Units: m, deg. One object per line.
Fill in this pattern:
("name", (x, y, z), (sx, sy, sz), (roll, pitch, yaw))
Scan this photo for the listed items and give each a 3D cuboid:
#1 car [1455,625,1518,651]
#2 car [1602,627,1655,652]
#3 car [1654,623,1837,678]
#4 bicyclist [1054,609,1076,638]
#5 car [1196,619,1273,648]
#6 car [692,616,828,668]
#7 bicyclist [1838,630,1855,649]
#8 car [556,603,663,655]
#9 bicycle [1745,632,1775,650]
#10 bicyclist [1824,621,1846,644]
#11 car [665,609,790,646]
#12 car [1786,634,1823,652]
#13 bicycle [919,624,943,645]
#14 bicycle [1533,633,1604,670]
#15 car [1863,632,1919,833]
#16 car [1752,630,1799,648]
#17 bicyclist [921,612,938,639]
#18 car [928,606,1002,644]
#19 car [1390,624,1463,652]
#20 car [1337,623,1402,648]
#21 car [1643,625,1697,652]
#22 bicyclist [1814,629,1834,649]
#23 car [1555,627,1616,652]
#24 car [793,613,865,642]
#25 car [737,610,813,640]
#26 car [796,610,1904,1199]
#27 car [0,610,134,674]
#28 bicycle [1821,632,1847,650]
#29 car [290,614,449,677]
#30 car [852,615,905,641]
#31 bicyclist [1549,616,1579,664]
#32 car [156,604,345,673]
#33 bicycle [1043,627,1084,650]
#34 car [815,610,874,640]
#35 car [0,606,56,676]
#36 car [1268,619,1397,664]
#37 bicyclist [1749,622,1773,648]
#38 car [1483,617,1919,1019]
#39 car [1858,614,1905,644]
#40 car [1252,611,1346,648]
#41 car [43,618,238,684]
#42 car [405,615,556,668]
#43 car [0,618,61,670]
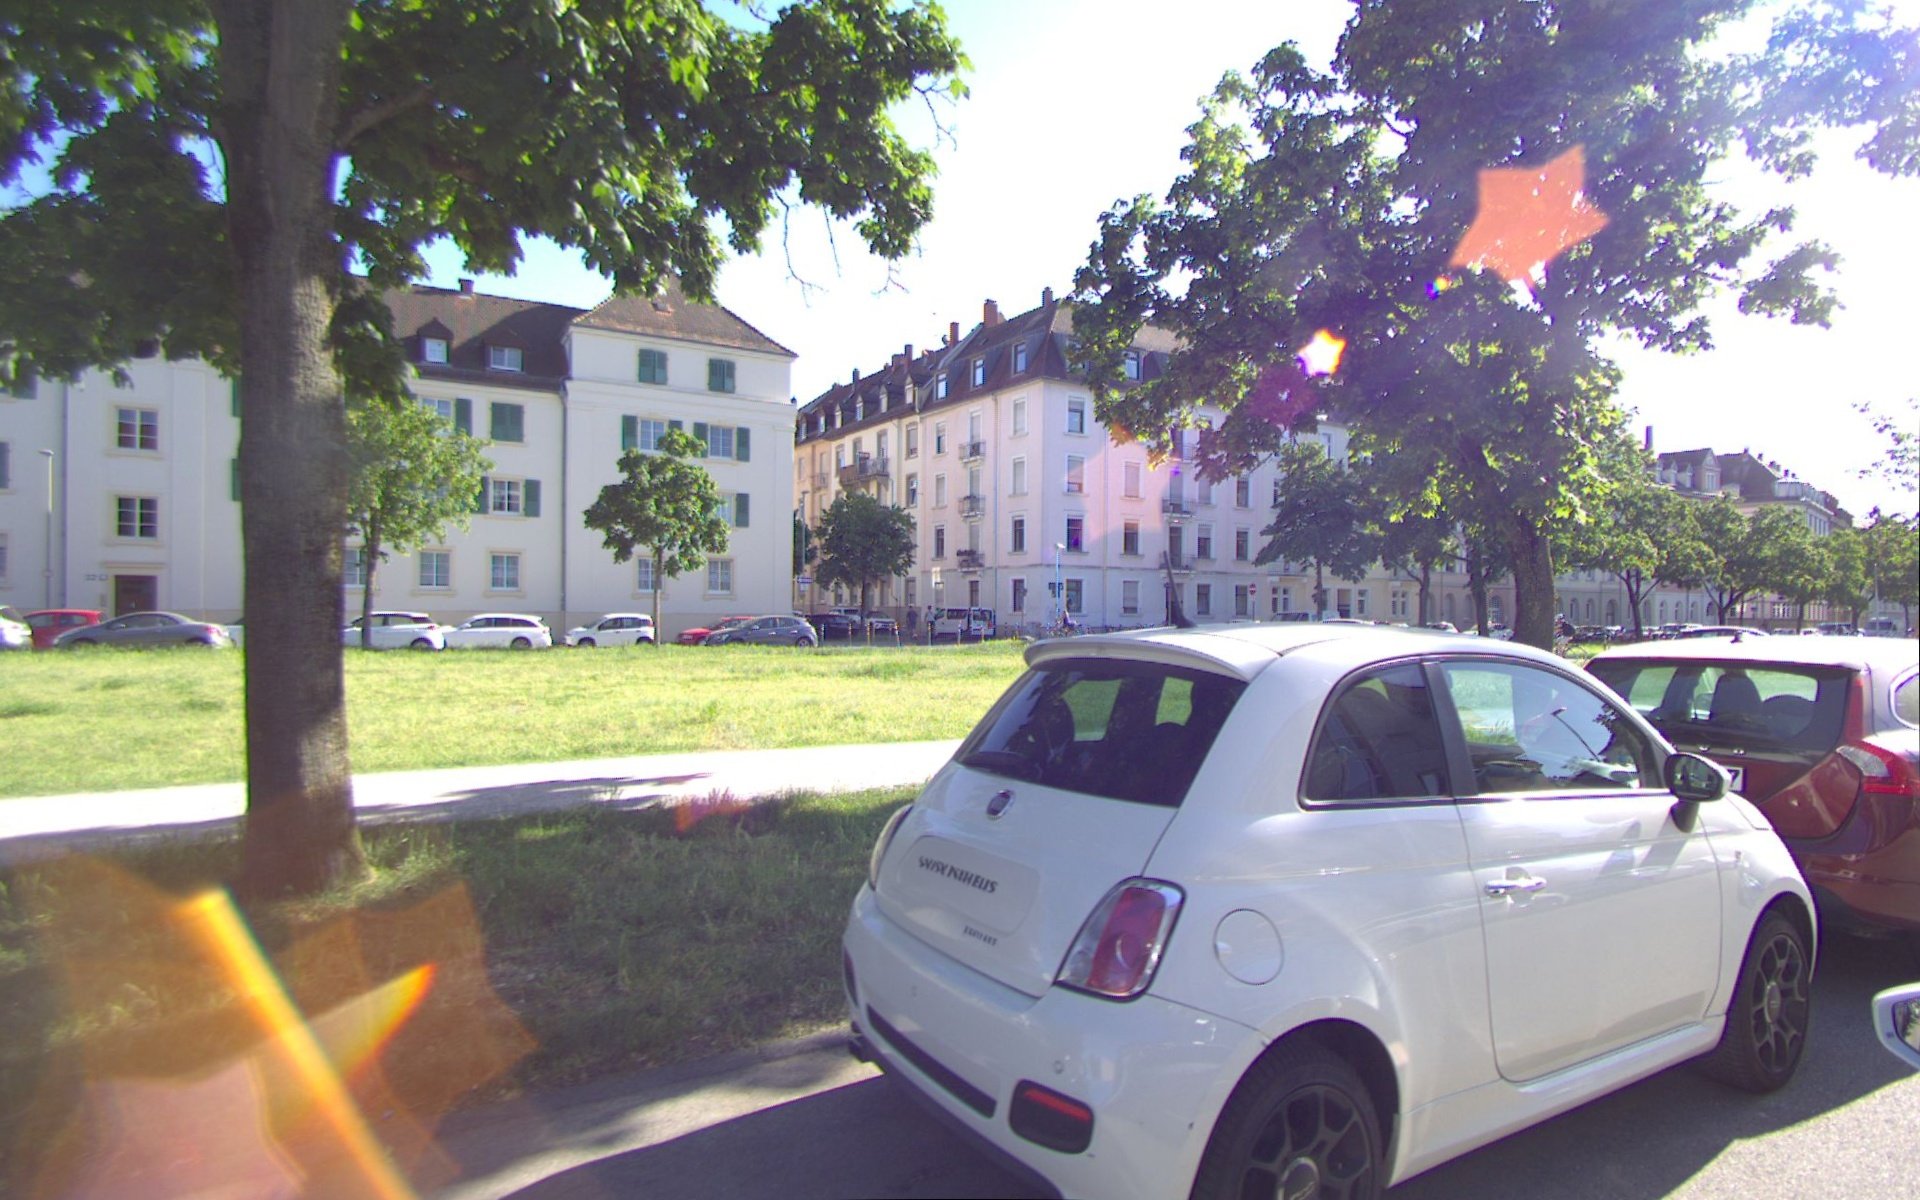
("car", (32.636, 2.321, 62.213), (4.036, 1.547, 1.684), (1, -1, -33))
("car", (47.145, 2.772, 70.830), (4.036, 1.709, 1.622), (1, -1, -33))
("car", (23.854, 1.498, 30.707), (4.278, 1.428, 1.913), (0, 1, 37))
("bicyclist", (5.162, 1.132, 49.158), (0.864, 1.382, 0.621), (0, 0, 39))
("car", (16.138, 1.960, 58.898), (4.406, 1.608, 1.981), (1, -1, -34))
("car", (-7.653, 1.576, 38.540), (4.652, 1.844, 2.146), (1, -1, -32))
("bicyclist", (69.325, 3.054, 78.541), (0.931, 1.456, 0.734), (2, -2, -30))
("car", (-14.302, 1.208, 41.011), (3.852, 2.040, 1.657), (2, -1, -31))
("bicycle", (58.620, 2.996, 73.597), (2.603, 1.268, 0.806), (2, -2, -30))
("bicyclist", (70.198, 2.603, 80.619), (1.433, 1.861, 0.937), (2, -2, -31))
("car", (-10.046, 1.196, 43.477), (4.901, 1.504, 1.984), (1, -2, -31))
("car", (71.523, 3.649, 85.091), (3.196, 1.459, 1.508), (1, -1, -33))
("bicycle", (-1.529, 1.806, 52.810), (0.524, 1.030, 1.474), (1, -1, -33))
("bicycle", (22.060, 1.850, 36.420), (2.123, 1.275, 0.711), (0, -1, 41))
("car", (9.554, 1.025, 8.322), (4.419, 1.539, 1.864), (1, -3, -31))
("car", (67.517, 3.237, 83.128), (3.729, 1.459, 1.838), (1, -1, -30))
("bicyclist", (-1.604, 1.326, 52.920), (0.528, 1.382, 0.778), (1, 0, -33))
("car", (0.237, 1.407, 57.398), (2.117, 2.040, 4.536), (1, -1, -33))
("car", (27.501, 2.217, 59.117), (4.646, 1.582, 1.684), (1, -1, -33))
("car", (23.003, 1.988, 56.423), (3.488, 1.296, 1.684), (1, -1, -33))
("car", (52.269, 2.810, 73.906), (4.412, 1.933, 1.726), (1, -1, -33))
("bicyclist", (68.272, 3.091, 79.377), (0.931, 1.454, 0.735), (3, -11, -30))
("car", (42.405, 2.670, 68.066), (4.479, 1.570, 1.746), (1, -1, -33))
("car", (-7.366, 1.536, 56.558), (3.626, 1.541, 1.699), (1, -1, -31))
("car", (-11.081, 1.499, 60.229), (4.196, 1.724, 1.691), (1, -1, -33))
("car", (1.447, 0.834, 3.362), (3.644, 1.512, 1.578), (1, -3, -32))
("car", (-29.332, 1.311, 32.179), (4.120, 1.930, 2.252), (1, -1, -31))
("bicycle", (70.134, 3.300, 80.599), (2.605, 1.269, 0.806), (3, 0, -32))
("car", (-18.756, 1.408, 32.021), (4.211, 1.844, 2.223), (1, -1, -32))
("car", (-5.417, 1.831, 66.364), (1.917, 1.589, 3.847), (1, -1, -33))
("bicyclist", (21.955, 1.435, 36.509), (0.866, 1.713, 0.629), (0, -1, 41))
("car", (-24.603, 1.318, 35.161), (5.199, 2.245, 2.517), (1, -1, -32))
("bicycle", (5.067, 1.875, 49.288), (1.951, 1.030, 0.656), (0, -1, 39))
("car", (-8.140, 1.707, 70.491), (1.980, 2.000, 5.005), (1, -1, -34))
("car", (-27.891, 1.071, 26.617), (5.386, 1.844, 2.440), (1, -1, -29))
("car", (14.167, 1.528, 38.280), (4.278, 1.597, 1.922), (-1, -1, 37))
("bicyclist", (58.677, 2.579, 73.611), (1.433, 1.861, 0.937), (2, -2, -31))
("car", (5.158, 0.892, 5.720), (4.615, 1.511, 1.746), (1, -3, -32))
("car", (86.828, 2.717, 94.637), (5.563, 2.780, 1.905), (1, -1, -33))
("car", (18.260, 1.551, 54.032), (5.043, 1.897, 2.070), (1, -1, -33))
("car", (-23.587, 1.426, 29.154), (3.959, 1.773, 2.308), (1, -1, -29))
("car", (-18.419, 1.560, 38.623), (5.098, 1.911, 2.143), (1, -1, -30))
("car", (-29.436, 1.266, 28.958), (4.901, 1.504, 1.984), (1, -2, -31))
